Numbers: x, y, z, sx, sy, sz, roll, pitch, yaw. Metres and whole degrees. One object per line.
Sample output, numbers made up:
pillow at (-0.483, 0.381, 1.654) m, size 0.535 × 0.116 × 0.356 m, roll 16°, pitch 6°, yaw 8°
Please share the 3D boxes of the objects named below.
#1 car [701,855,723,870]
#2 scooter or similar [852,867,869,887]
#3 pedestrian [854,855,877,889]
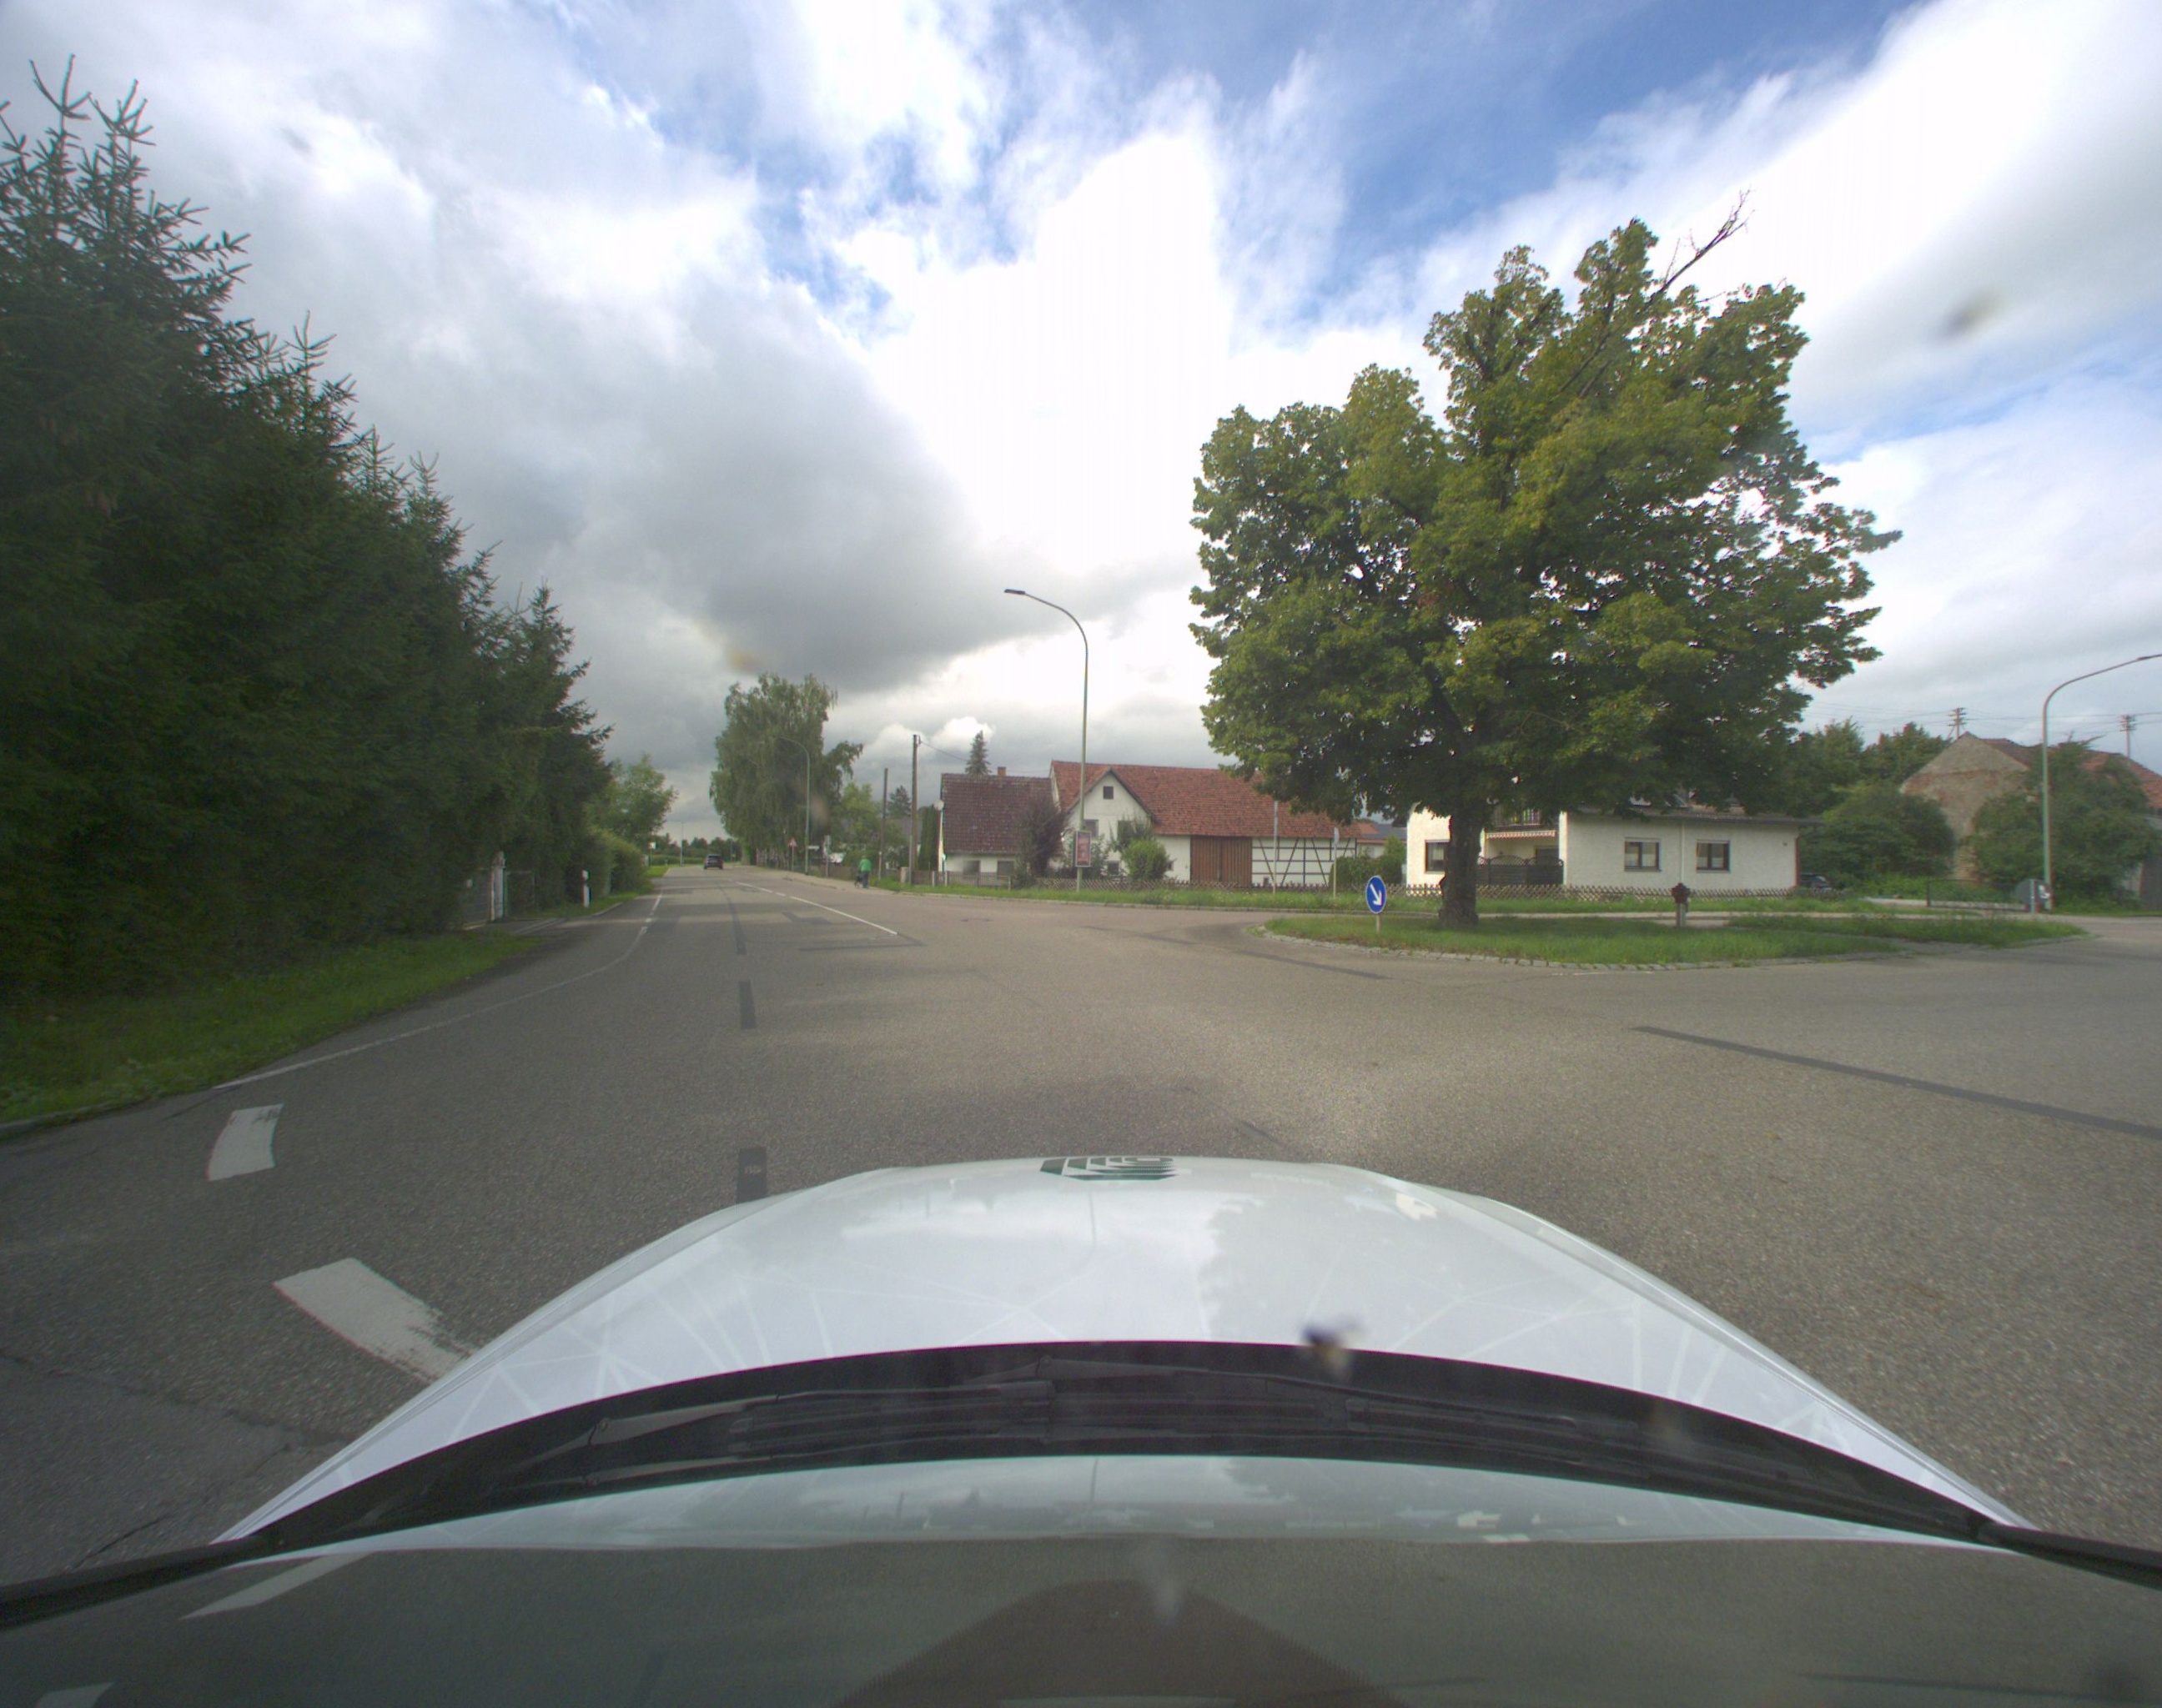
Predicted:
car at (-39.908, 0.900, 88.100) m, size 2.002 × 1.552 × 3.969 m, roll 2°, pitch -1°, yaw -24°
scooter or similar at (-11.428, 1.185, 42.227) m, size 0.634 × 0.948 × 0.616 m, roll 6°, pitch -3°, yaw -31°
pedestrian at (-11.028, 0.907, 41.669) m, size 0.793 × 1.665 × 0.705 m, roll 6°, pitch -3°, yaw -31°
